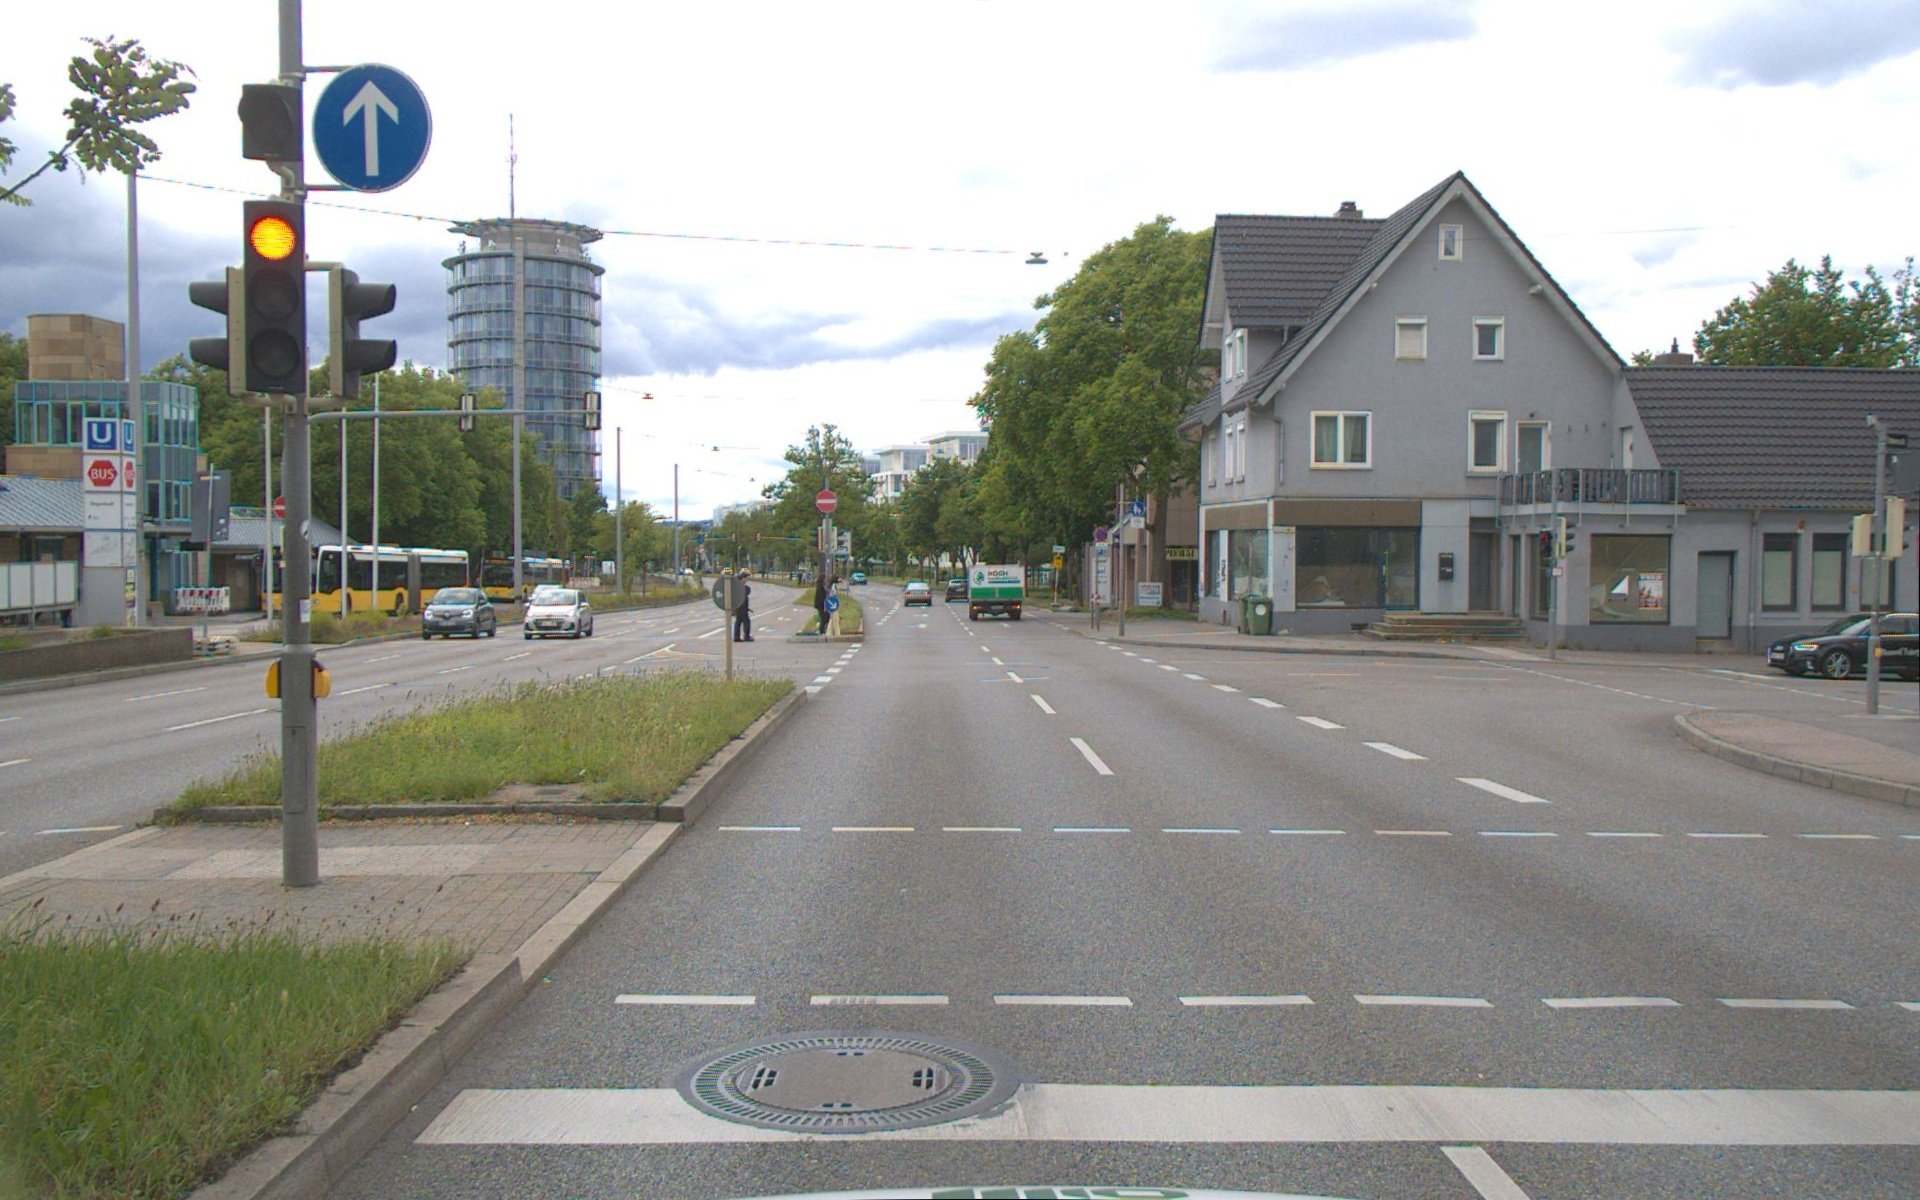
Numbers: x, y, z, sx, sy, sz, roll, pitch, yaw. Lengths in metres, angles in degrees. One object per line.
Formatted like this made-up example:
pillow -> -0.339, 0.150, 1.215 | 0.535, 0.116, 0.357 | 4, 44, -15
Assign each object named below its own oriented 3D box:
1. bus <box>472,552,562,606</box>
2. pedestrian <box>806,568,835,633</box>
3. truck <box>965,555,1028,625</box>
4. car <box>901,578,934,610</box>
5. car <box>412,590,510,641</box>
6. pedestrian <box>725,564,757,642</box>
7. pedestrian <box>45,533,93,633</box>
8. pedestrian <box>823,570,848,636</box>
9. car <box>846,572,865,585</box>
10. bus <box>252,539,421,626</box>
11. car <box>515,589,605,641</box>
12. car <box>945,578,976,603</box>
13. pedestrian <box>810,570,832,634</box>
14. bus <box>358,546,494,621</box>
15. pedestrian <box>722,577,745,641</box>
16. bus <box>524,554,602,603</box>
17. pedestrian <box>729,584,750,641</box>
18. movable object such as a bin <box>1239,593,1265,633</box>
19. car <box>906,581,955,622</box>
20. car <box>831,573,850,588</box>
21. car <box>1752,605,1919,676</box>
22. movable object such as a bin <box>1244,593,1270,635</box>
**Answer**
bus -> -30.360, -1.423, 113.924 | 2.772, 3.490, 10.738 | 0, 0, 3
pedestrian -> -3.768, 0.015, 44.623 | 0.731, 1.746, 0.582 | 0, 0, -8
truck -> 1.488, -0.480, 68.011 | 2.420, 2.656, 6.549 | 1, 1, 1
car -> -2.551, -0.383, 99.295 | 1.953, 1.862, 3.999 | 0, 0, -1
car -> -15.442, 0.458, 51.420 | 1.953, 1.512, 3.998 | 0, 0, -2
pedestrian -> -5.793, 0.079, 43.778 | 0.814, 2.049, 0.545 | 0, 0, -8
pedestrian -> -18.462, -0.351, 34.274 | 0.668, 2.049, 0.645 | 0, 0, -5
pedestrian -> -3.317, 0.074, 44.124 | 0.641, 1.746, 0.451 | 0, 0, -8
car -> -13.020, -2.730, 206.834 | 1.957, 1.579, 3.991 | -1, 0, -10
bus -> -26.971, -0.738, 72.227 | 2.772, 3.490, 10.738 | 0, 0, 3
car -> -12.276, 0.426, 50.989 | 1.953, 1.512, 3.998 | 0, 0, -2
car -> 0.032, -0.636, 110.572 | 1.953, 1.579, 3.999 | 1, 0, -1
pedestrian -> -3.822, 0.043, 45.423 | 0.572, 1.746, 0.545 | 0, 0, -8
bus -> -26.420, -0.796, 82.483 | 2.772, 3.490, 10.738 | 0, 0, 3
pedestrian -> -6.204, 0.235, 45.337 | 0.601, 1.746, 0.545 | 0, 0, -8
bus -> -29.794, -1.589, 124.673 | 2.772, 3.490, 10.738 | 0, 0, 3
pedestrian -> -5.920, 0.326, 44.429 | 0.533, 1.522, 0.485 | 0, 0, -10
movable object such as a bin -> 7.941, 0.341, 44.967 | 0.603, 1.061, 0.589 | 1, 0, 1
car -> -1.221, 0.041, 68.613 | 1.953, 1.579, 3.999 | 1, 0, -1
car -> -12.726, -2.061, 176.247 | 1.954, 1.545, 3.996 | 0, 1, -5
car -> 19.443, 0.864, 35.525 | 4.006, 1.395, 1.799 | 2, 0, -2
movable object such as a bin -> 7.963, 0.371, 44.332 | 0.592, 1.078, 0.589 | 1, 0, 1
